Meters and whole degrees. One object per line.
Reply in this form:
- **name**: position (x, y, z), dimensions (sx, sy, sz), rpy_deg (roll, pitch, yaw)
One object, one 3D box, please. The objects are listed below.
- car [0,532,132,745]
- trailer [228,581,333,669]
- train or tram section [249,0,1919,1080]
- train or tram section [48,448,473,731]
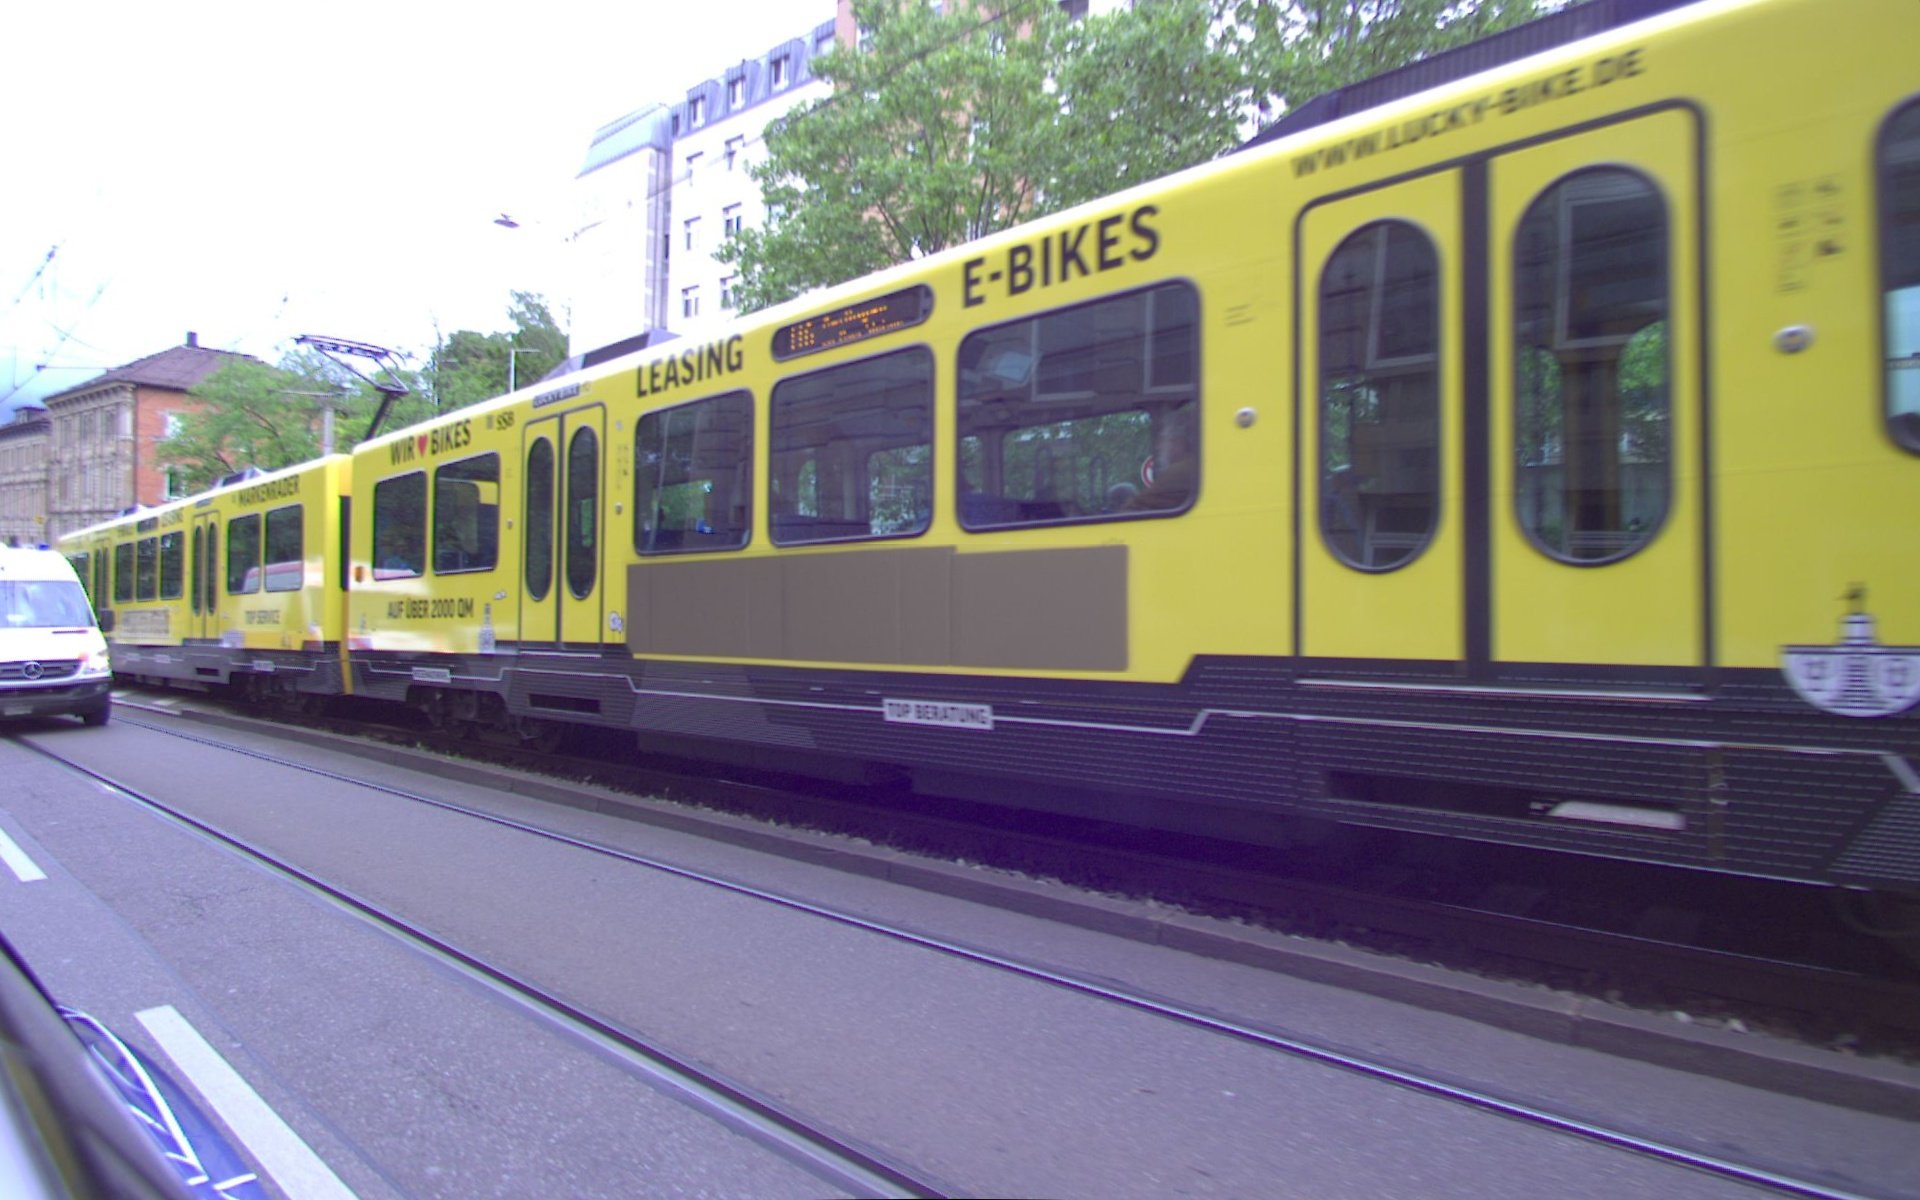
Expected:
- **car**: position (-14.399, 0.570, 14.926), dimensions (5.843, 2.720, 2.015), rpy_deg (-2, -1, 37)
- **trailer**: position (-25.288, 0.918, 37.563), dimensions (5.590, 2.995, 1.997), rpy_deg (-2, 0, 43)
- **train or tram section**: position (-1.415, -0.381, 8.383), dimensions (18.692, 3.754, 2.847), rpy_deg (-2, 0, 41)
- **train or tram section**: position (-14.136, -0.004, 19.330), dimensions (14.844, 3.754, 2.853), rpy_deg (-2, 0, 40)
